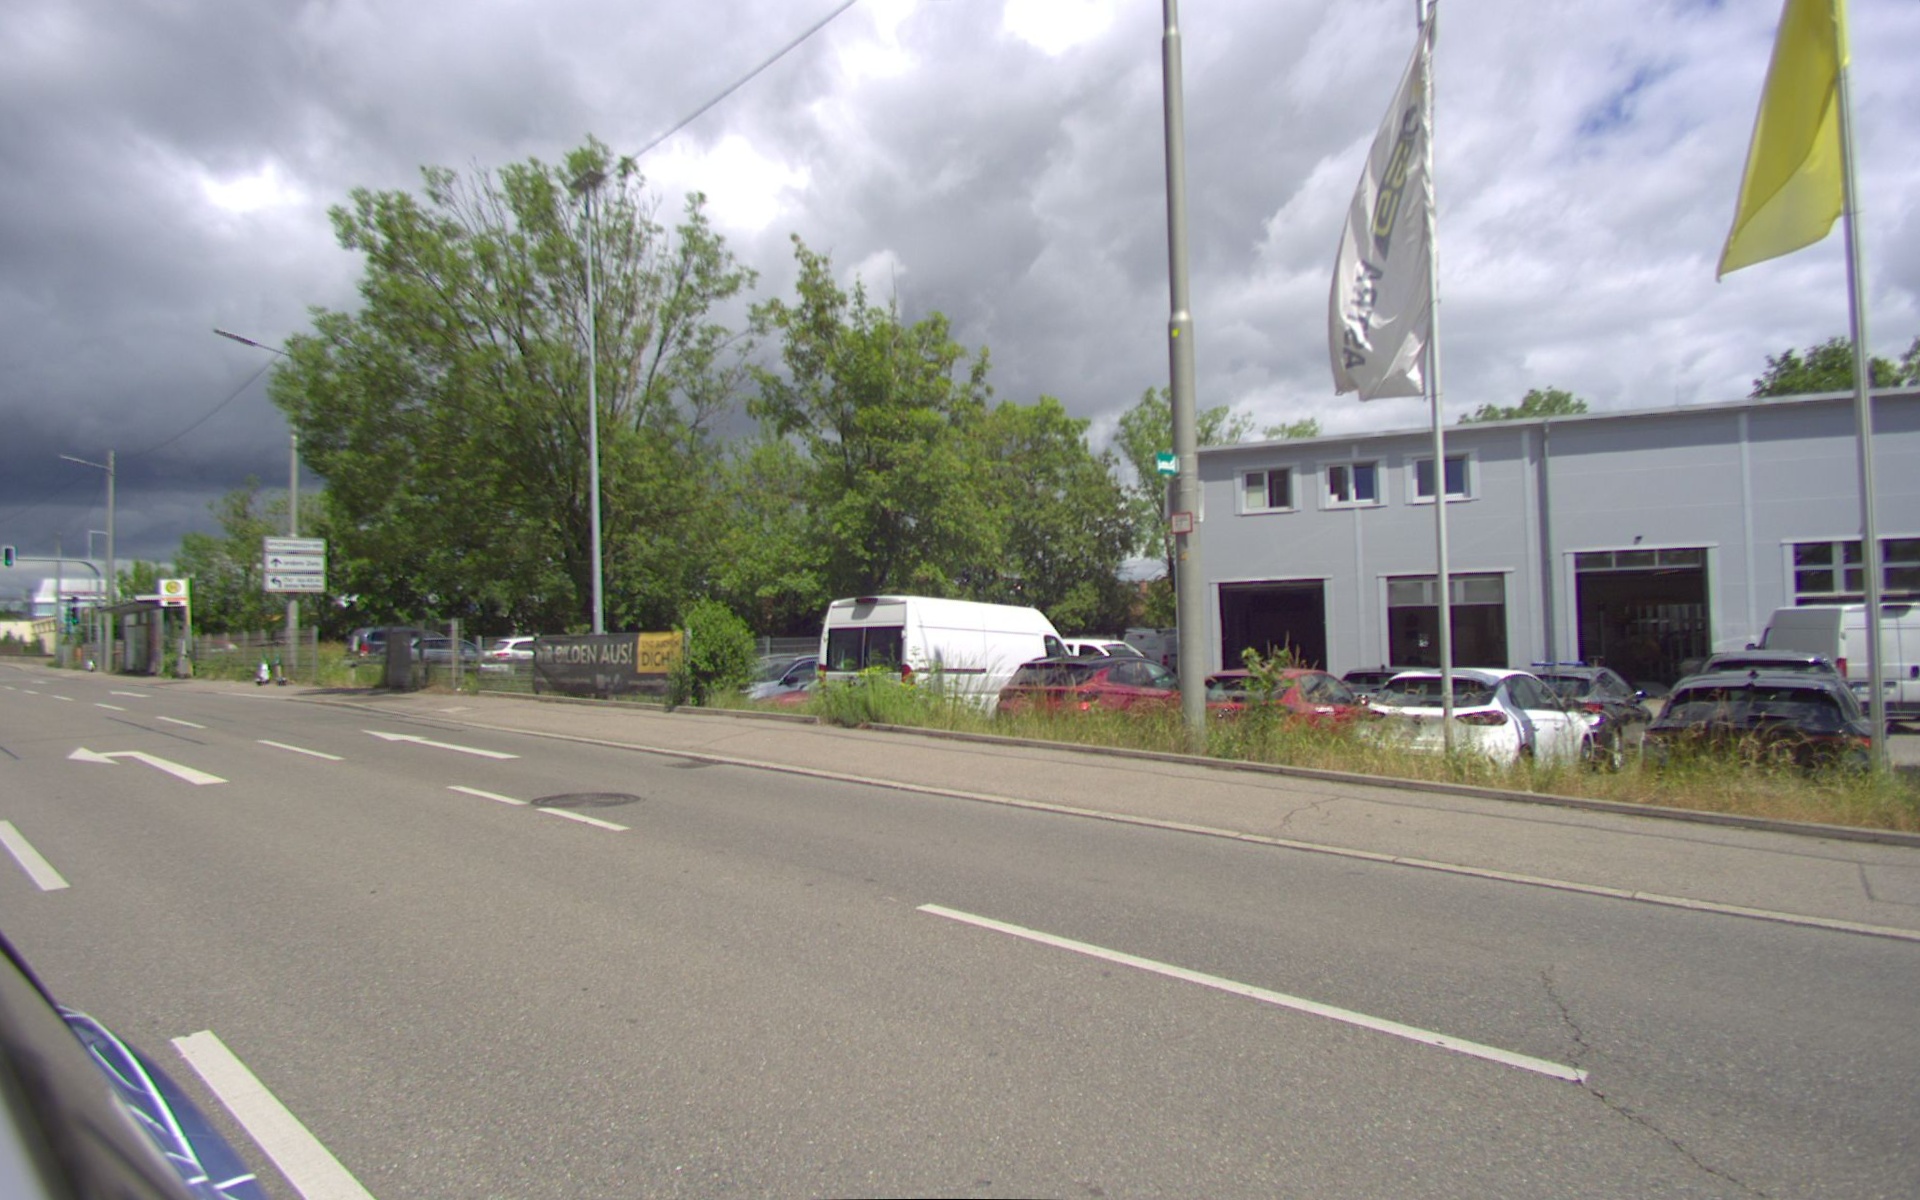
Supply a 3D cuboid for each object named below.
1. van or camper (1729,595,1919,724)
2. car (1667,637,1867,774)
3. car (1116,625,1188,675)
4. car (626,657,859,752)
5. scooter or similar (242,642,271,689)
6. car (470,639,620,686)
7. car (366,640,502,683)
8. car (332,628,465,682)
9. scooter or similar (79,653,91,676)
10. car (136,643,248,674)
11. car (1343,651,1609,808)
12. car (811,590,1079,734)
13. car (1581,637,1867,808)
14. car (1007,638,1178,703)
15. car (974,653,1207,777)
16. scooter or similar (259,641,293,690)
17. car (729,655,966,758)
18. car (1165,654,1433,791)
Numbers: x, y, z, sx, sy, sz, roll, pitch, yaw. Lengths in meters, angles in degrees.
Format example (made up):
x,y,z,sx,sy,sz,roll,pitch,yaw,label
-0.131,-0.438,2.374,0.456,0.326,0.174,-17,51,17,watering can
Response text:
x,y,z,sx,sy,sz,roll,pitch,yaw,label
18.773,1.163,21.394,2.487,2.373,5.855,-2,-2,23,van or camper
10.696,1.258,13.362,1.835,1.420,3.642,-1,-1,41,car
7.237,1.837,37.782,1.830,1.742,4.142,-2,-2,22,car
-4.070,1.899,19.372,1.928,1.397,3.989,-1,-1,43,car
-19.960,1.851,28.729,0.527,1.272,1.476,-2,-1,-31,scooter or similar
-13.642,2.013,33.414,4.226,1.391,1.867,1,-2,-44,car
-20.049,2.309,38.734,1.905,1.498,4.241,-2,-2,33,car
-22.669,2.186,41.002,2.136,2.029,4.240,-2,-2,35,car
-46.719,3.447,54.061,0.418,1.220,1.127,-1,-2,-43,scooter or similar
-39.111,2.937,51.590,2.025,1.430,4.263,-3,-3,43,car
5.955,1.329,11.520,1.712,1.335,3.505,-1,-1,45,car
-0.133,0.930,16.525,2.196,2.029,4.119,-3,-3,39,car
7.577,1.036,9.945,1.928,1.221,3.677,-1,-1,41,car
3.834,2.038,30.024,4.917,1.742,1.816,-3,-3,44,car
1.969,1.565,14.745,1.728,1.420,3.298,-1,-1,45,car
-18.790,1.784,27.793,0.528,1.275,1.473,-1,-1,-43,scooter or similar
-1.891,1.782,17.961,1.927,1.397,3.992,-1,-1,40,car
4.740,1.541,13.875,1.929,1.397,3.987,-1,-1,45,car
